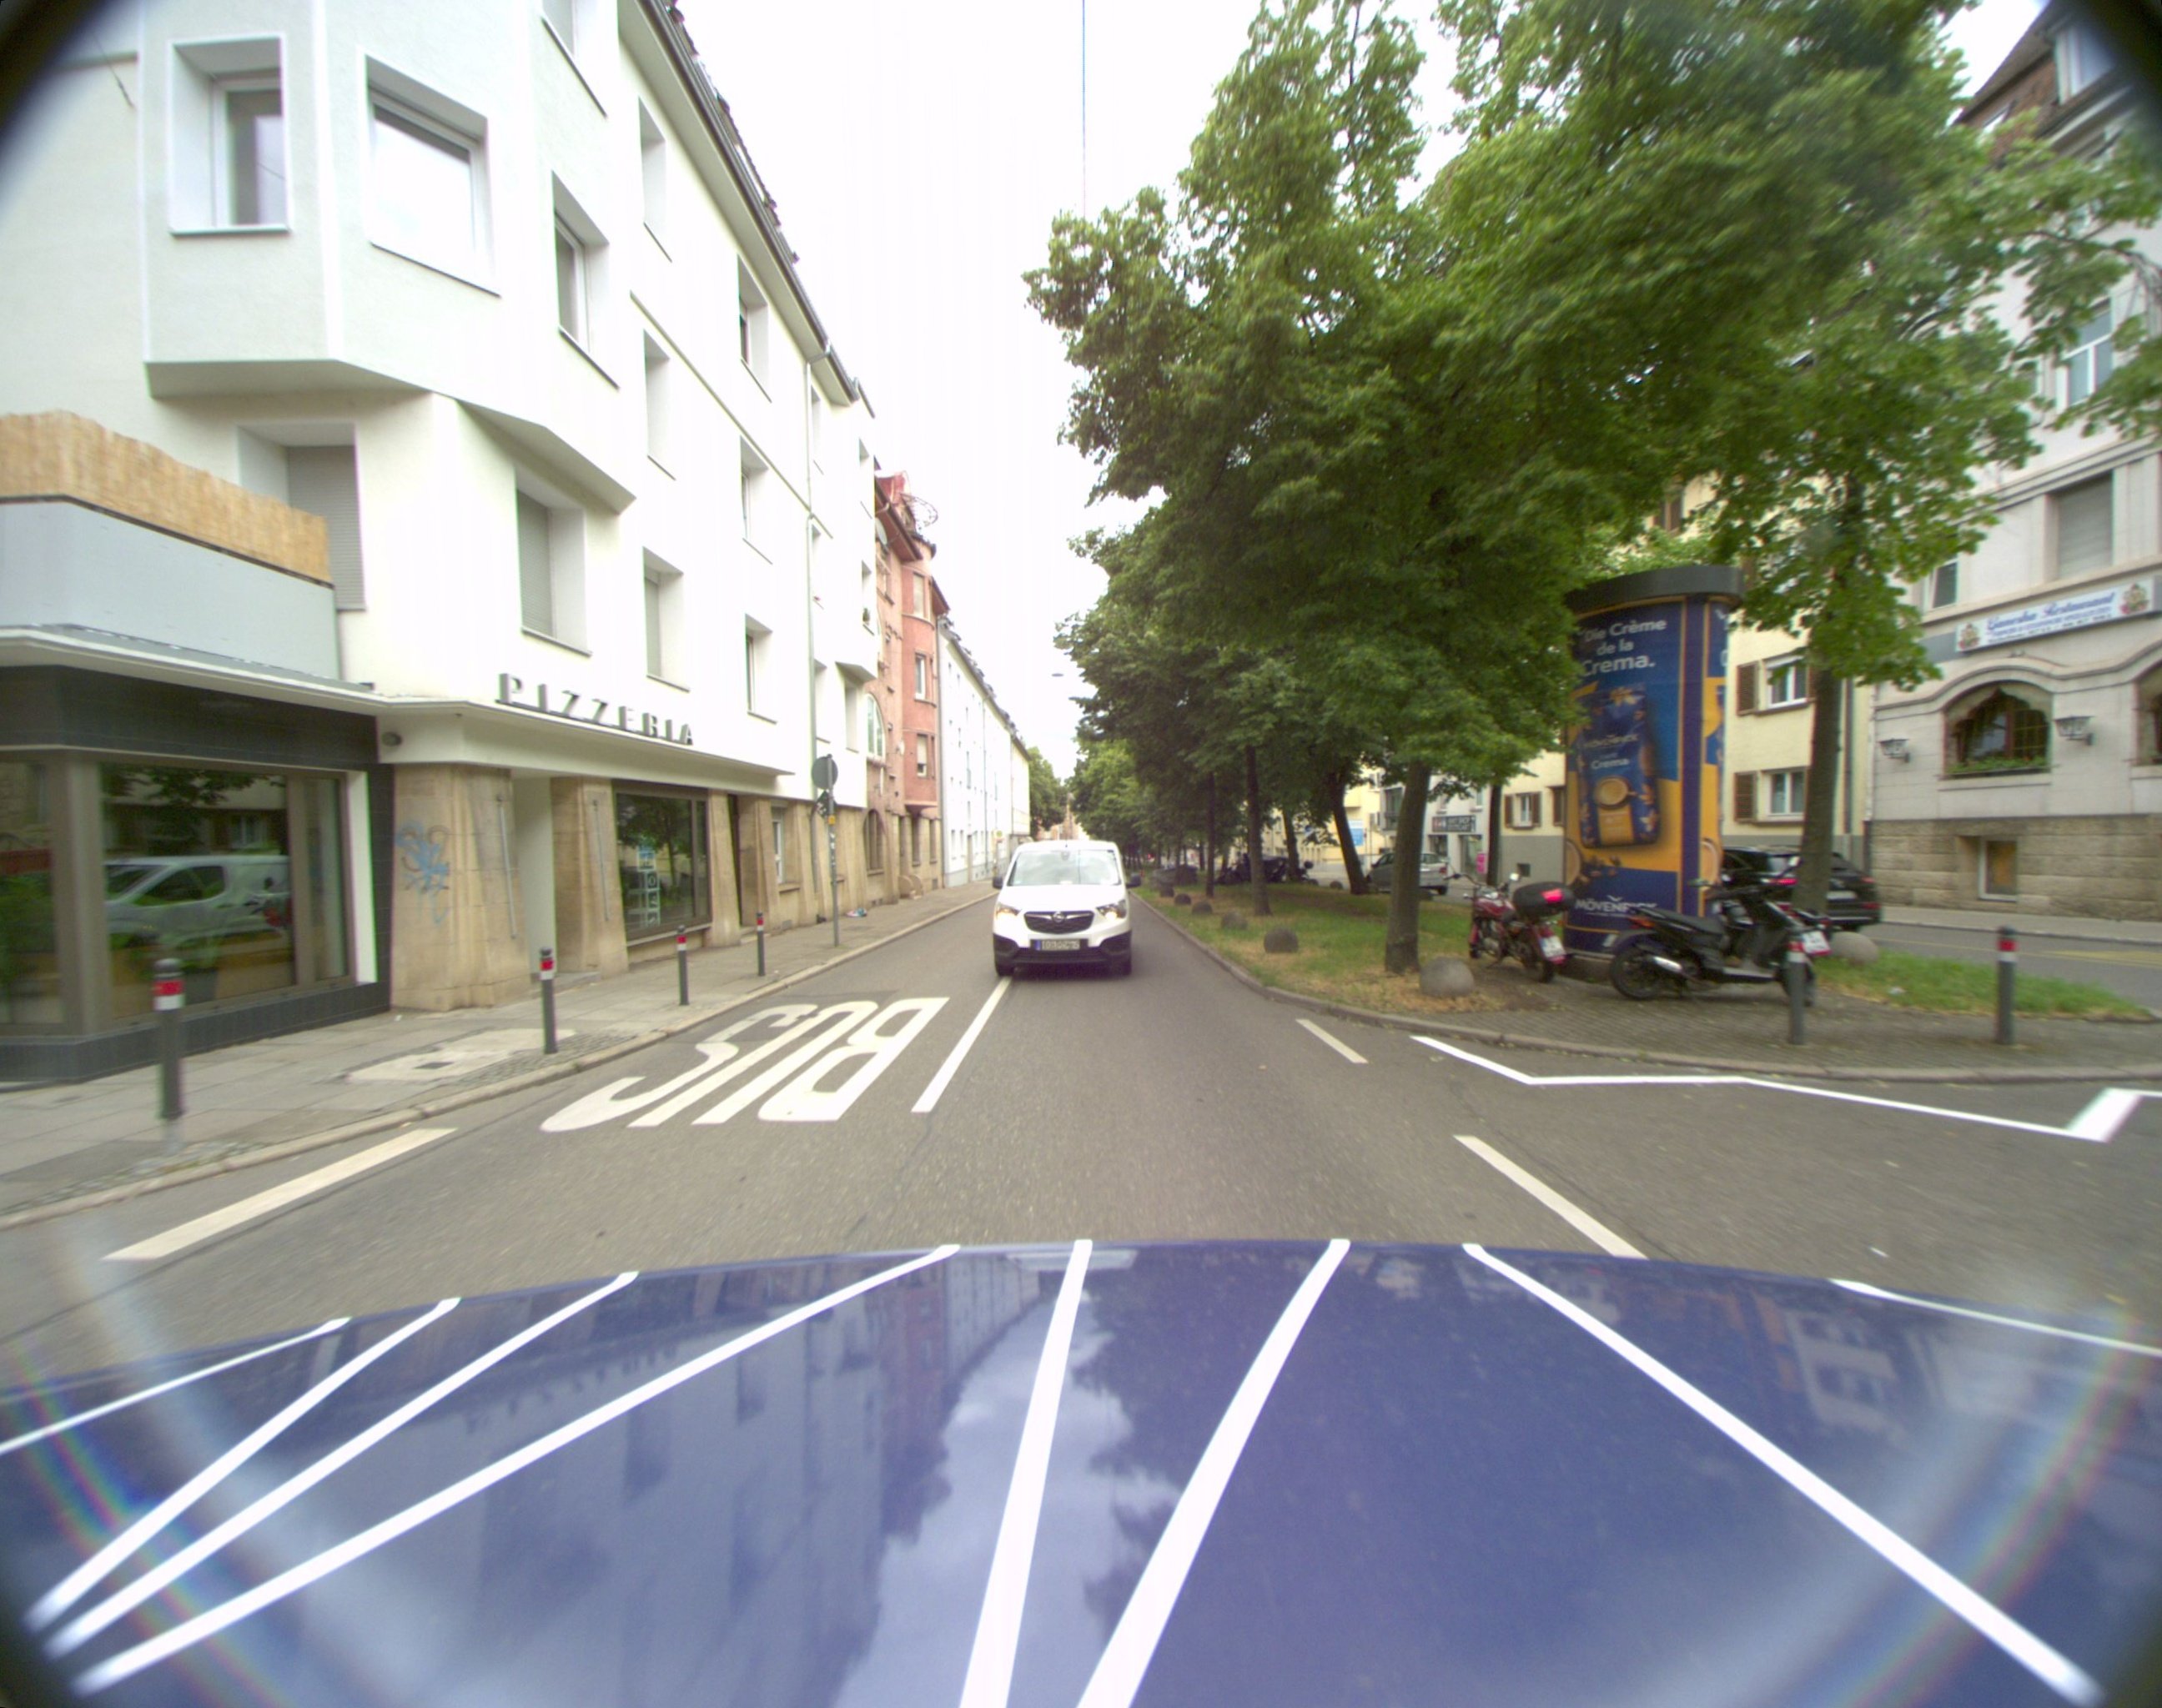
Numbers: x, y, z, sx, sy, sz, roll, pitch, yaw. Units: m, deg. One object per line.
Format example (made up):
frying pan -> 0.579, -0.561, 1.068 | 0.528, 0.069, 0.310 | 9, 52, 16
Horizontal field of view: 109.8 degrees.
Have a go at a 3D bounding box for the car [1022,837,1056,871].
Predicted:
car -> -3.977, -0.056, 72.509 | 3.026, 3.044, 7.166 | 0, 1, -2

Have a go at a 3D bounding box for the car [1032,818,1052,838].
car -> -6.166, -4.055, 120.235 | 3.026, 3.044, 7.166 | 0, 1, -2

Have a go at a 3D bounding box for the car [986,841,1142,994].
car -> -0.091, 0.745, 11.613 | 1.854, 1.814, 5.021 | 0, 0, 3
